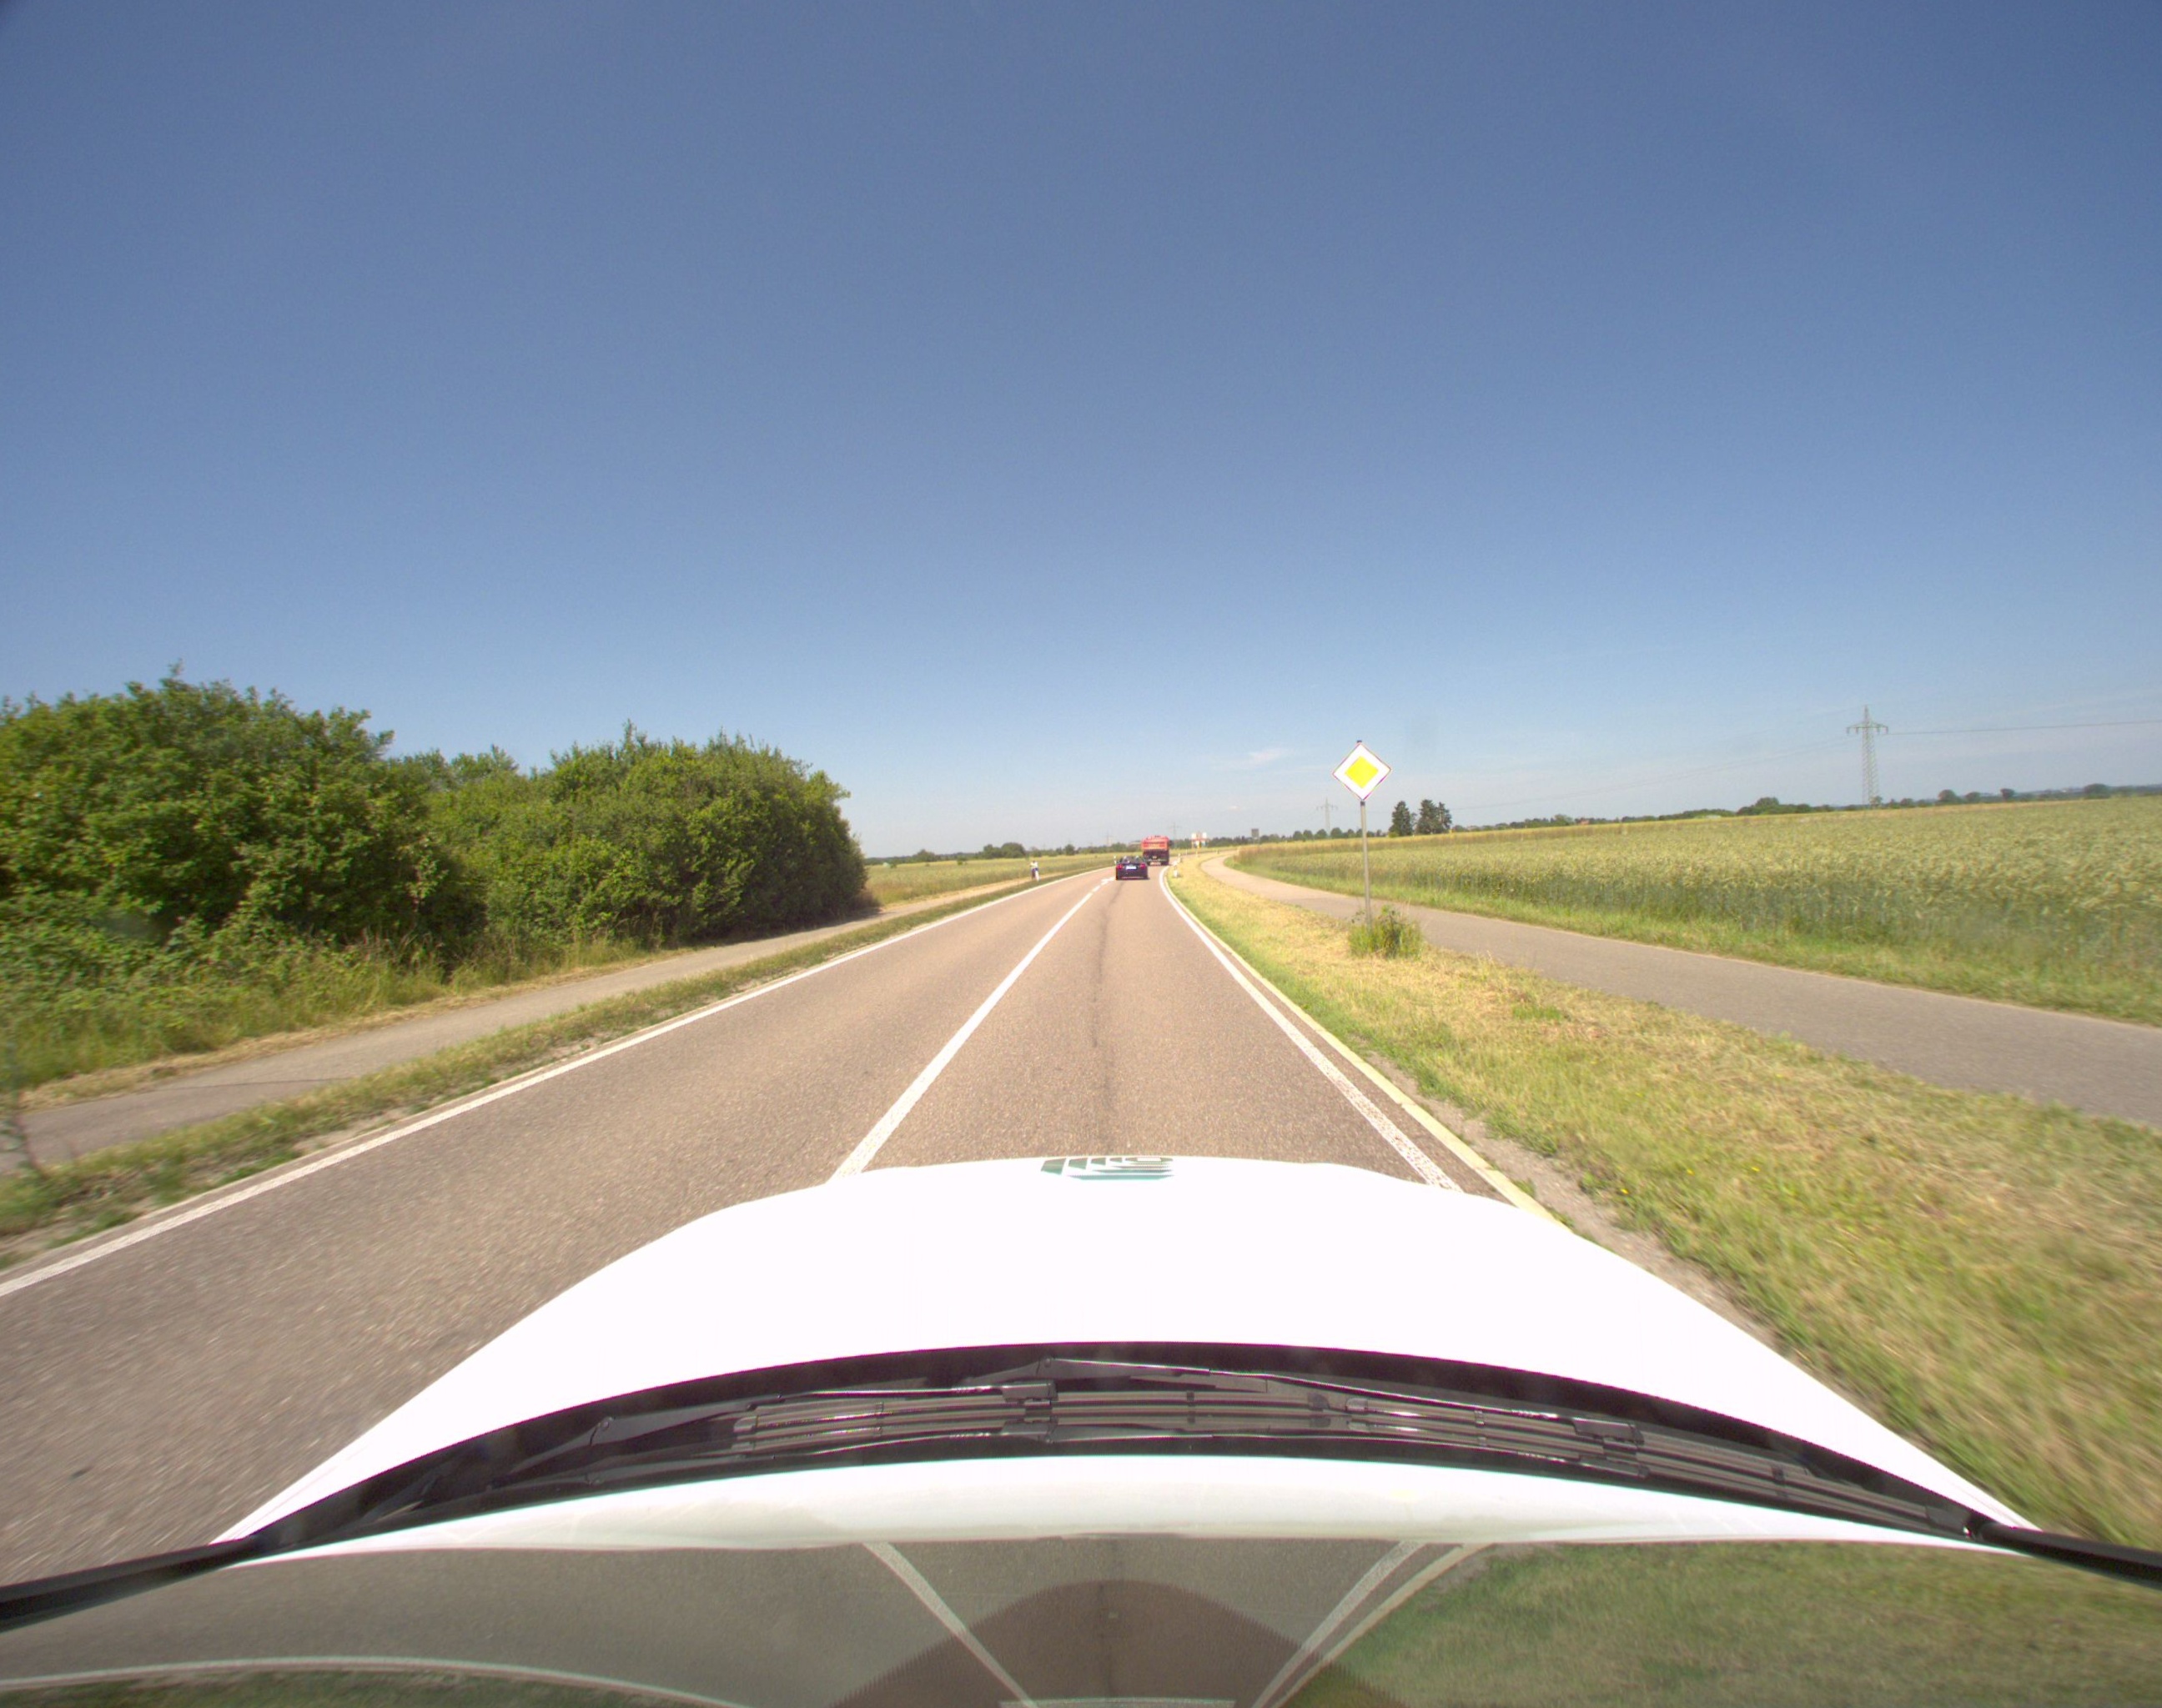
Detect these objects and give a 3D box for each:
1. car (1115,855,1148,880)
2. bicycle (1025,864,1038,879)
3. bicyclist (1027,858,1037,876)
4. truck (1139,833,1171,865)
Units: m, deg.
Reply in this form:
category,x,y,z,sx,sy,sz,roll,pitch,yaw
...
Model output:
category,x,y,z,sx,sy,sz,roll,pitch,yaw
car,2.824,0.732,45.553,1.736,1.280,4.004,-1,0,4
bicycle,-4.017,1.412,66.685,0.691,1.176,1.967,-3,0,6
bicyclist,-4.028,1.089,66.713,0.660,1.438,0.824,-2,0,6
truck,7.716,-0.514,84.094,2.923,3.089,7.209,-2,0,7
